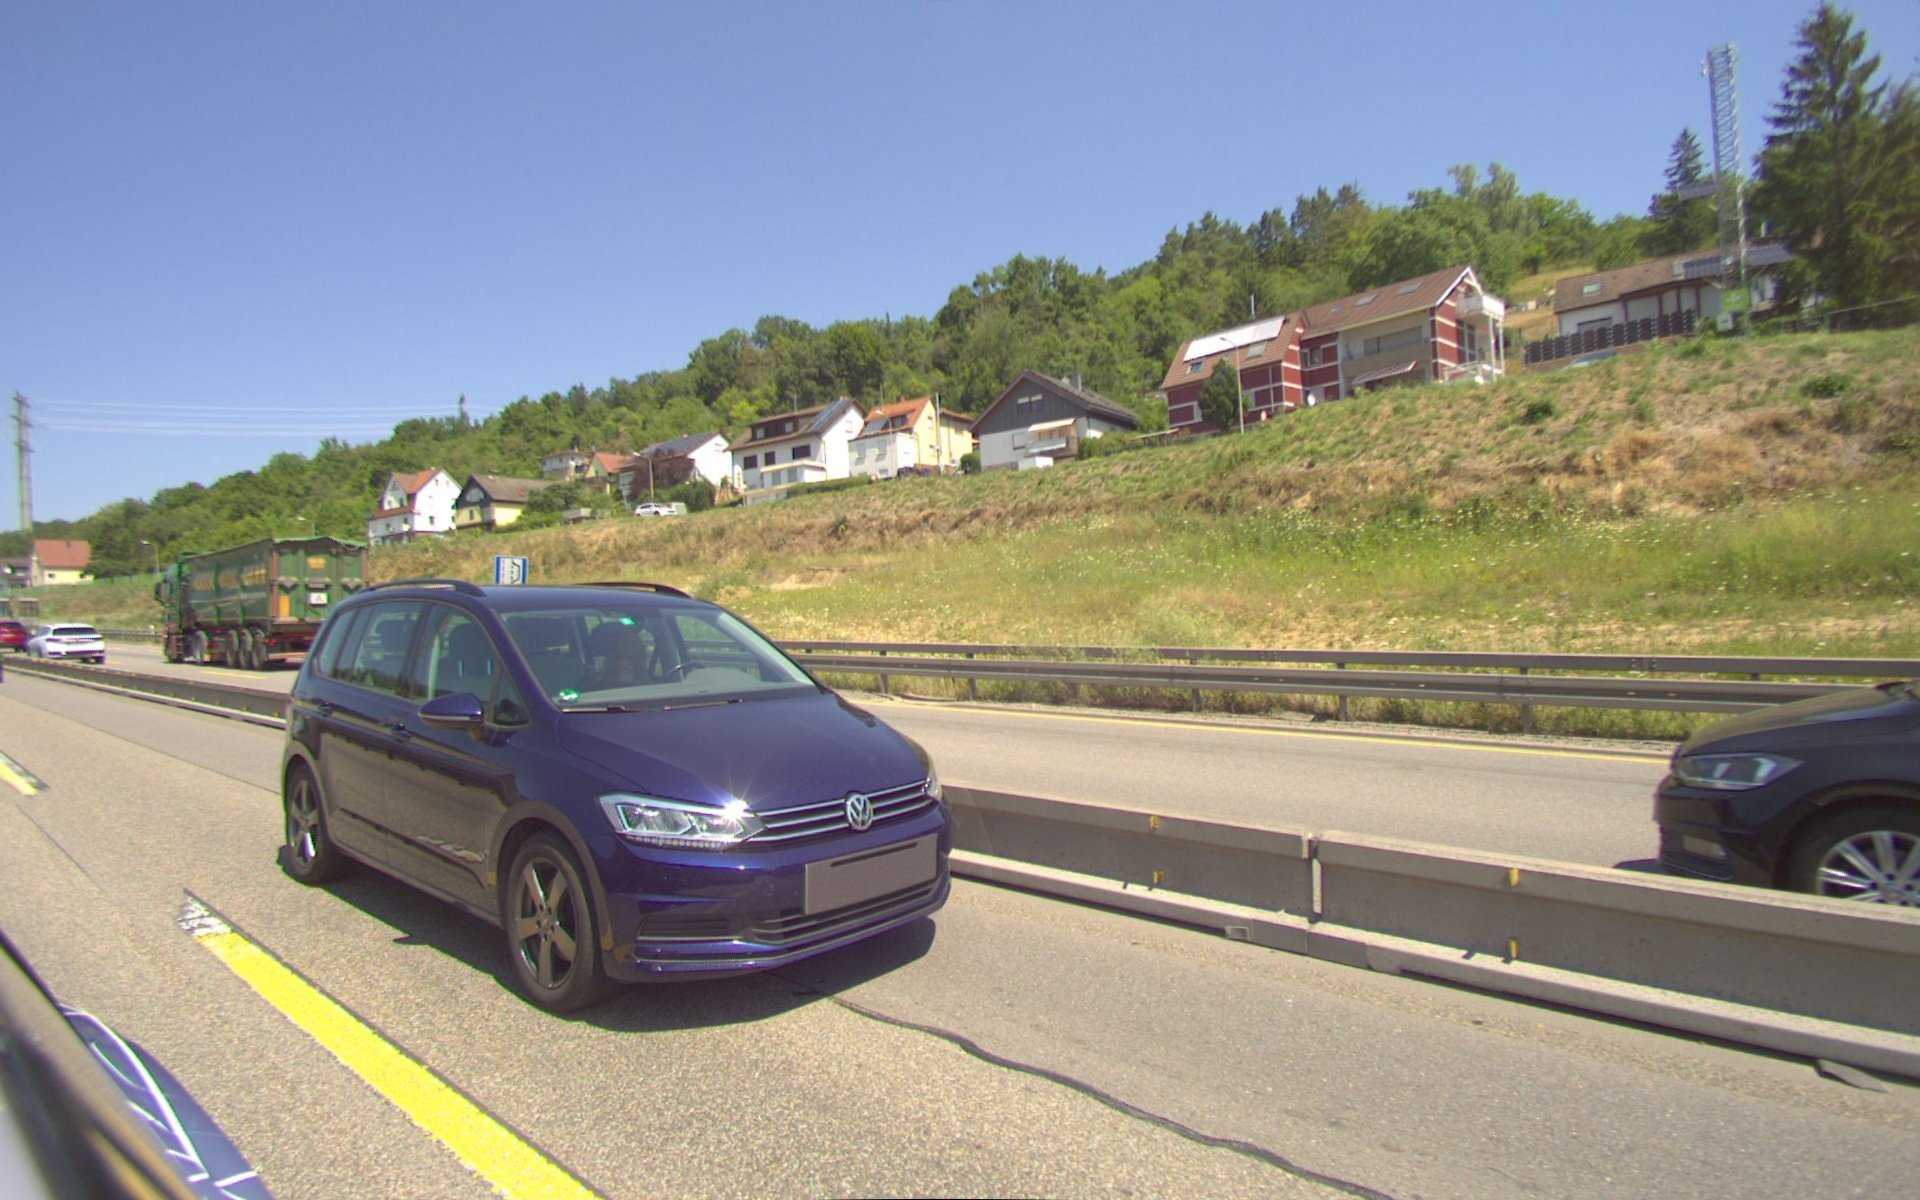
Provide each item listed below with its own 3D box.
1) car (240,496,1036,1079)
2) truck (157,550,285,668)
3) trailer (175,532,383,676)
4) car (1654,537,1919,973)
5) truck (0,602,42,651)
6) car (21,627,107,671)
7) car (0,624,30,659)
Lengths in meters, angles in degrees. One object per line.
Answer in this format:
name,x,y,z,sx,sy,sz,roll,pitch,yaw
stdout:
car,-2.008,0.620,5.219,4.650,1.731,1.757,-2,-1,41
truck,-26.558,0.336,36.350,4.176,3.968,2.865,-2,-1,41
trailer,-22.044,0.216,32.390,10.520,3.968,2.883,-2,-1,41
car,5.255,0.554,3.531,4.497,1.647,1.700,-2,-1,41
truck,-71.987,2.006,75.832,15.925,3.348,2.734,-2,-1,41
car,-32.675,1.762,36.885,4.437,1.481,1.755,-2,-1,40
car,-49.355,2.105,52.108,4.043,1.729,1.793,-2,-1,42
